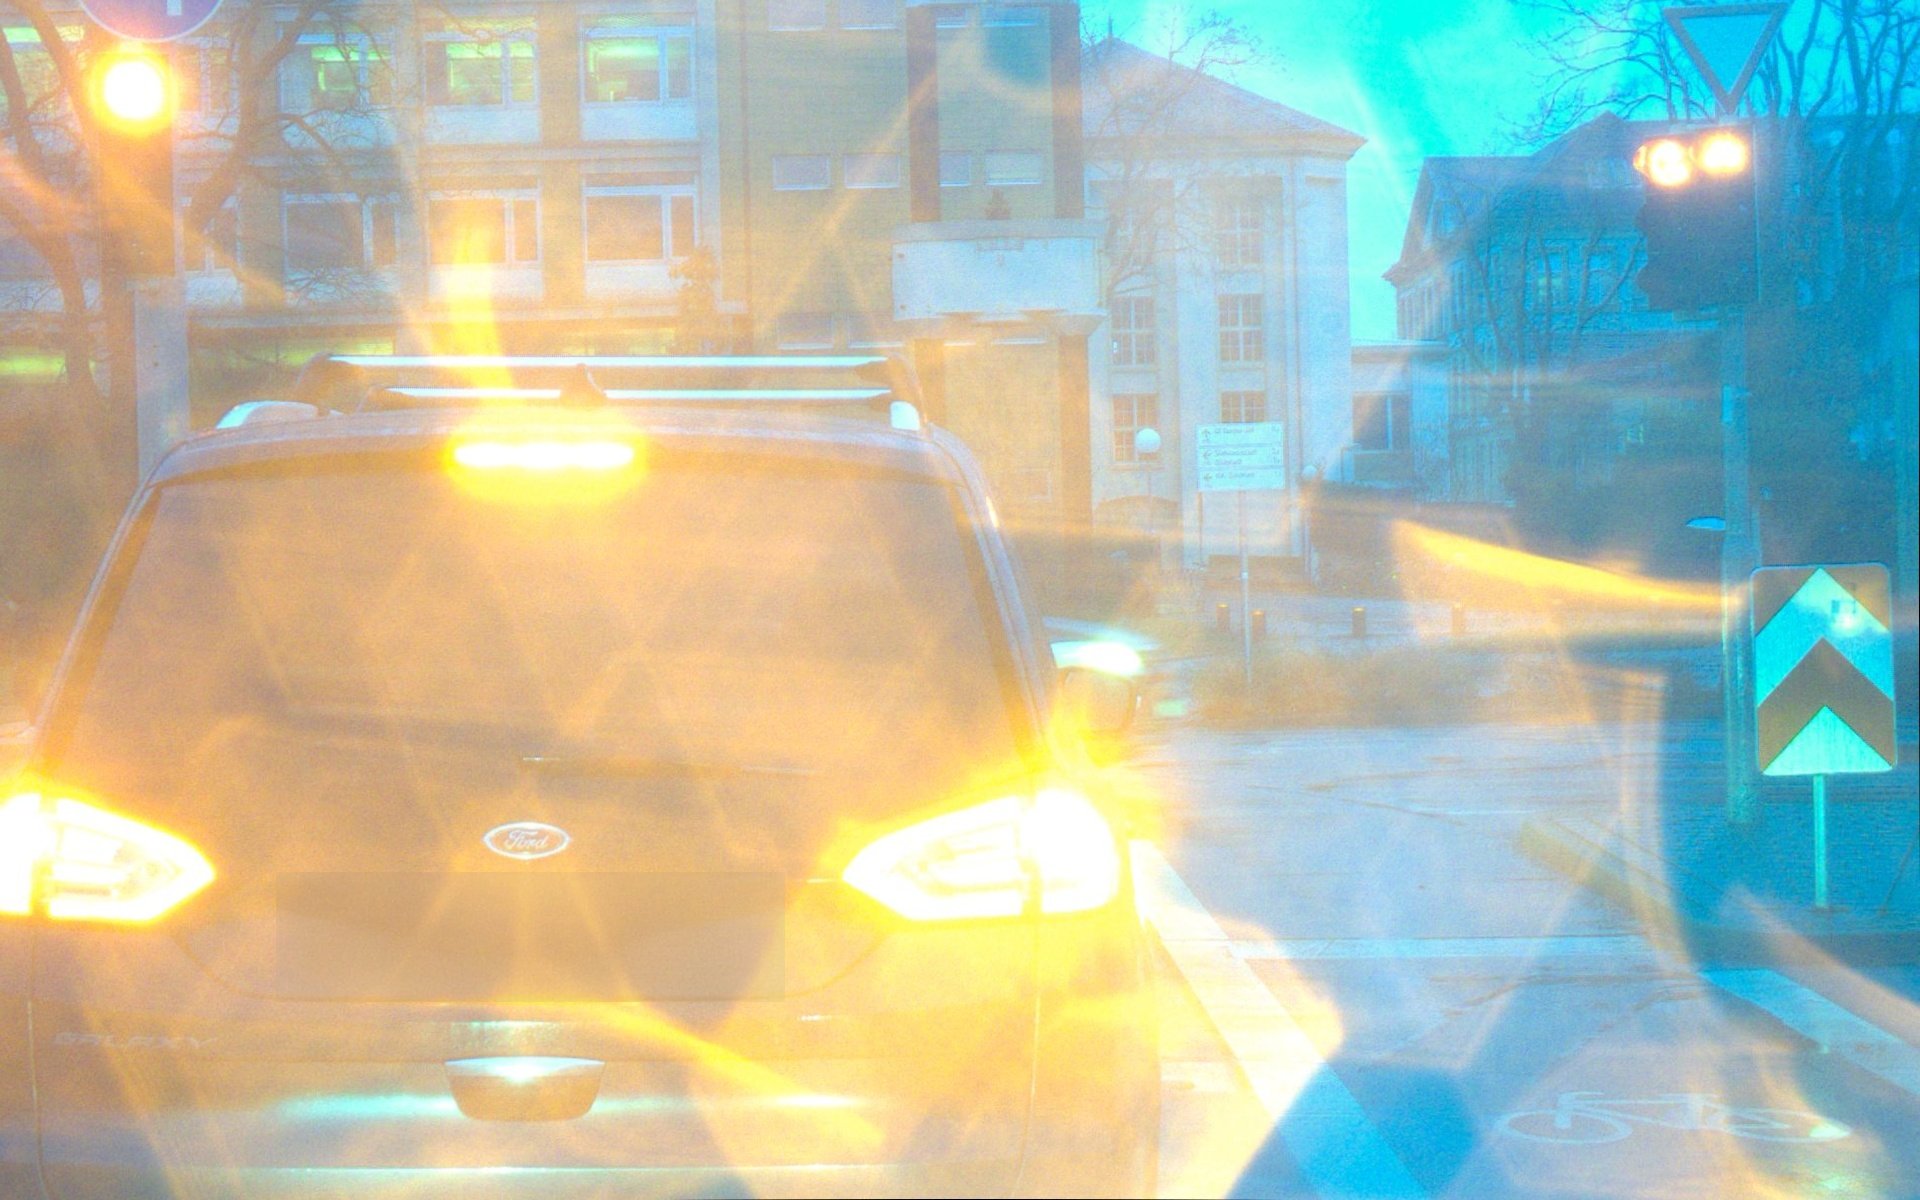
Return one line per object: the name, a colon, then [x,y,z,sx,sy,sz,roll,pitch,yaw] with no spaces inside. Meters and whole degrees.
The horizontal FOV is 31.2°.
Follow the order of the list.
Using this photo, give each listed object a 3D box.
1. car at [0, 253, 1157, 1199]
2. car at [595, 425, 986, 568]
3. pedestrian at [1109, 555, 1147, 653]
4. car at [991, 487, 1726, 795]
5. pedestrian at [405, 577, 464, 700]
car: [-0.588,0.404,6.581,1.647,1.812,4.000,0,1,-1]
car: [-2.464,-1.510,50.866,5.548,2.017,1.999,0,-1,6]
pedestrian: [2.182,0.049,44.560,0.432,1.266,0.441,0,-1,11]
car: [2.344,0.233,19.956,4.067,1.678,1.759,0,-1,11]
pedestrian: [-7.135,0.523,46.687,0.646,1.660,0.562,0,-1,7]
